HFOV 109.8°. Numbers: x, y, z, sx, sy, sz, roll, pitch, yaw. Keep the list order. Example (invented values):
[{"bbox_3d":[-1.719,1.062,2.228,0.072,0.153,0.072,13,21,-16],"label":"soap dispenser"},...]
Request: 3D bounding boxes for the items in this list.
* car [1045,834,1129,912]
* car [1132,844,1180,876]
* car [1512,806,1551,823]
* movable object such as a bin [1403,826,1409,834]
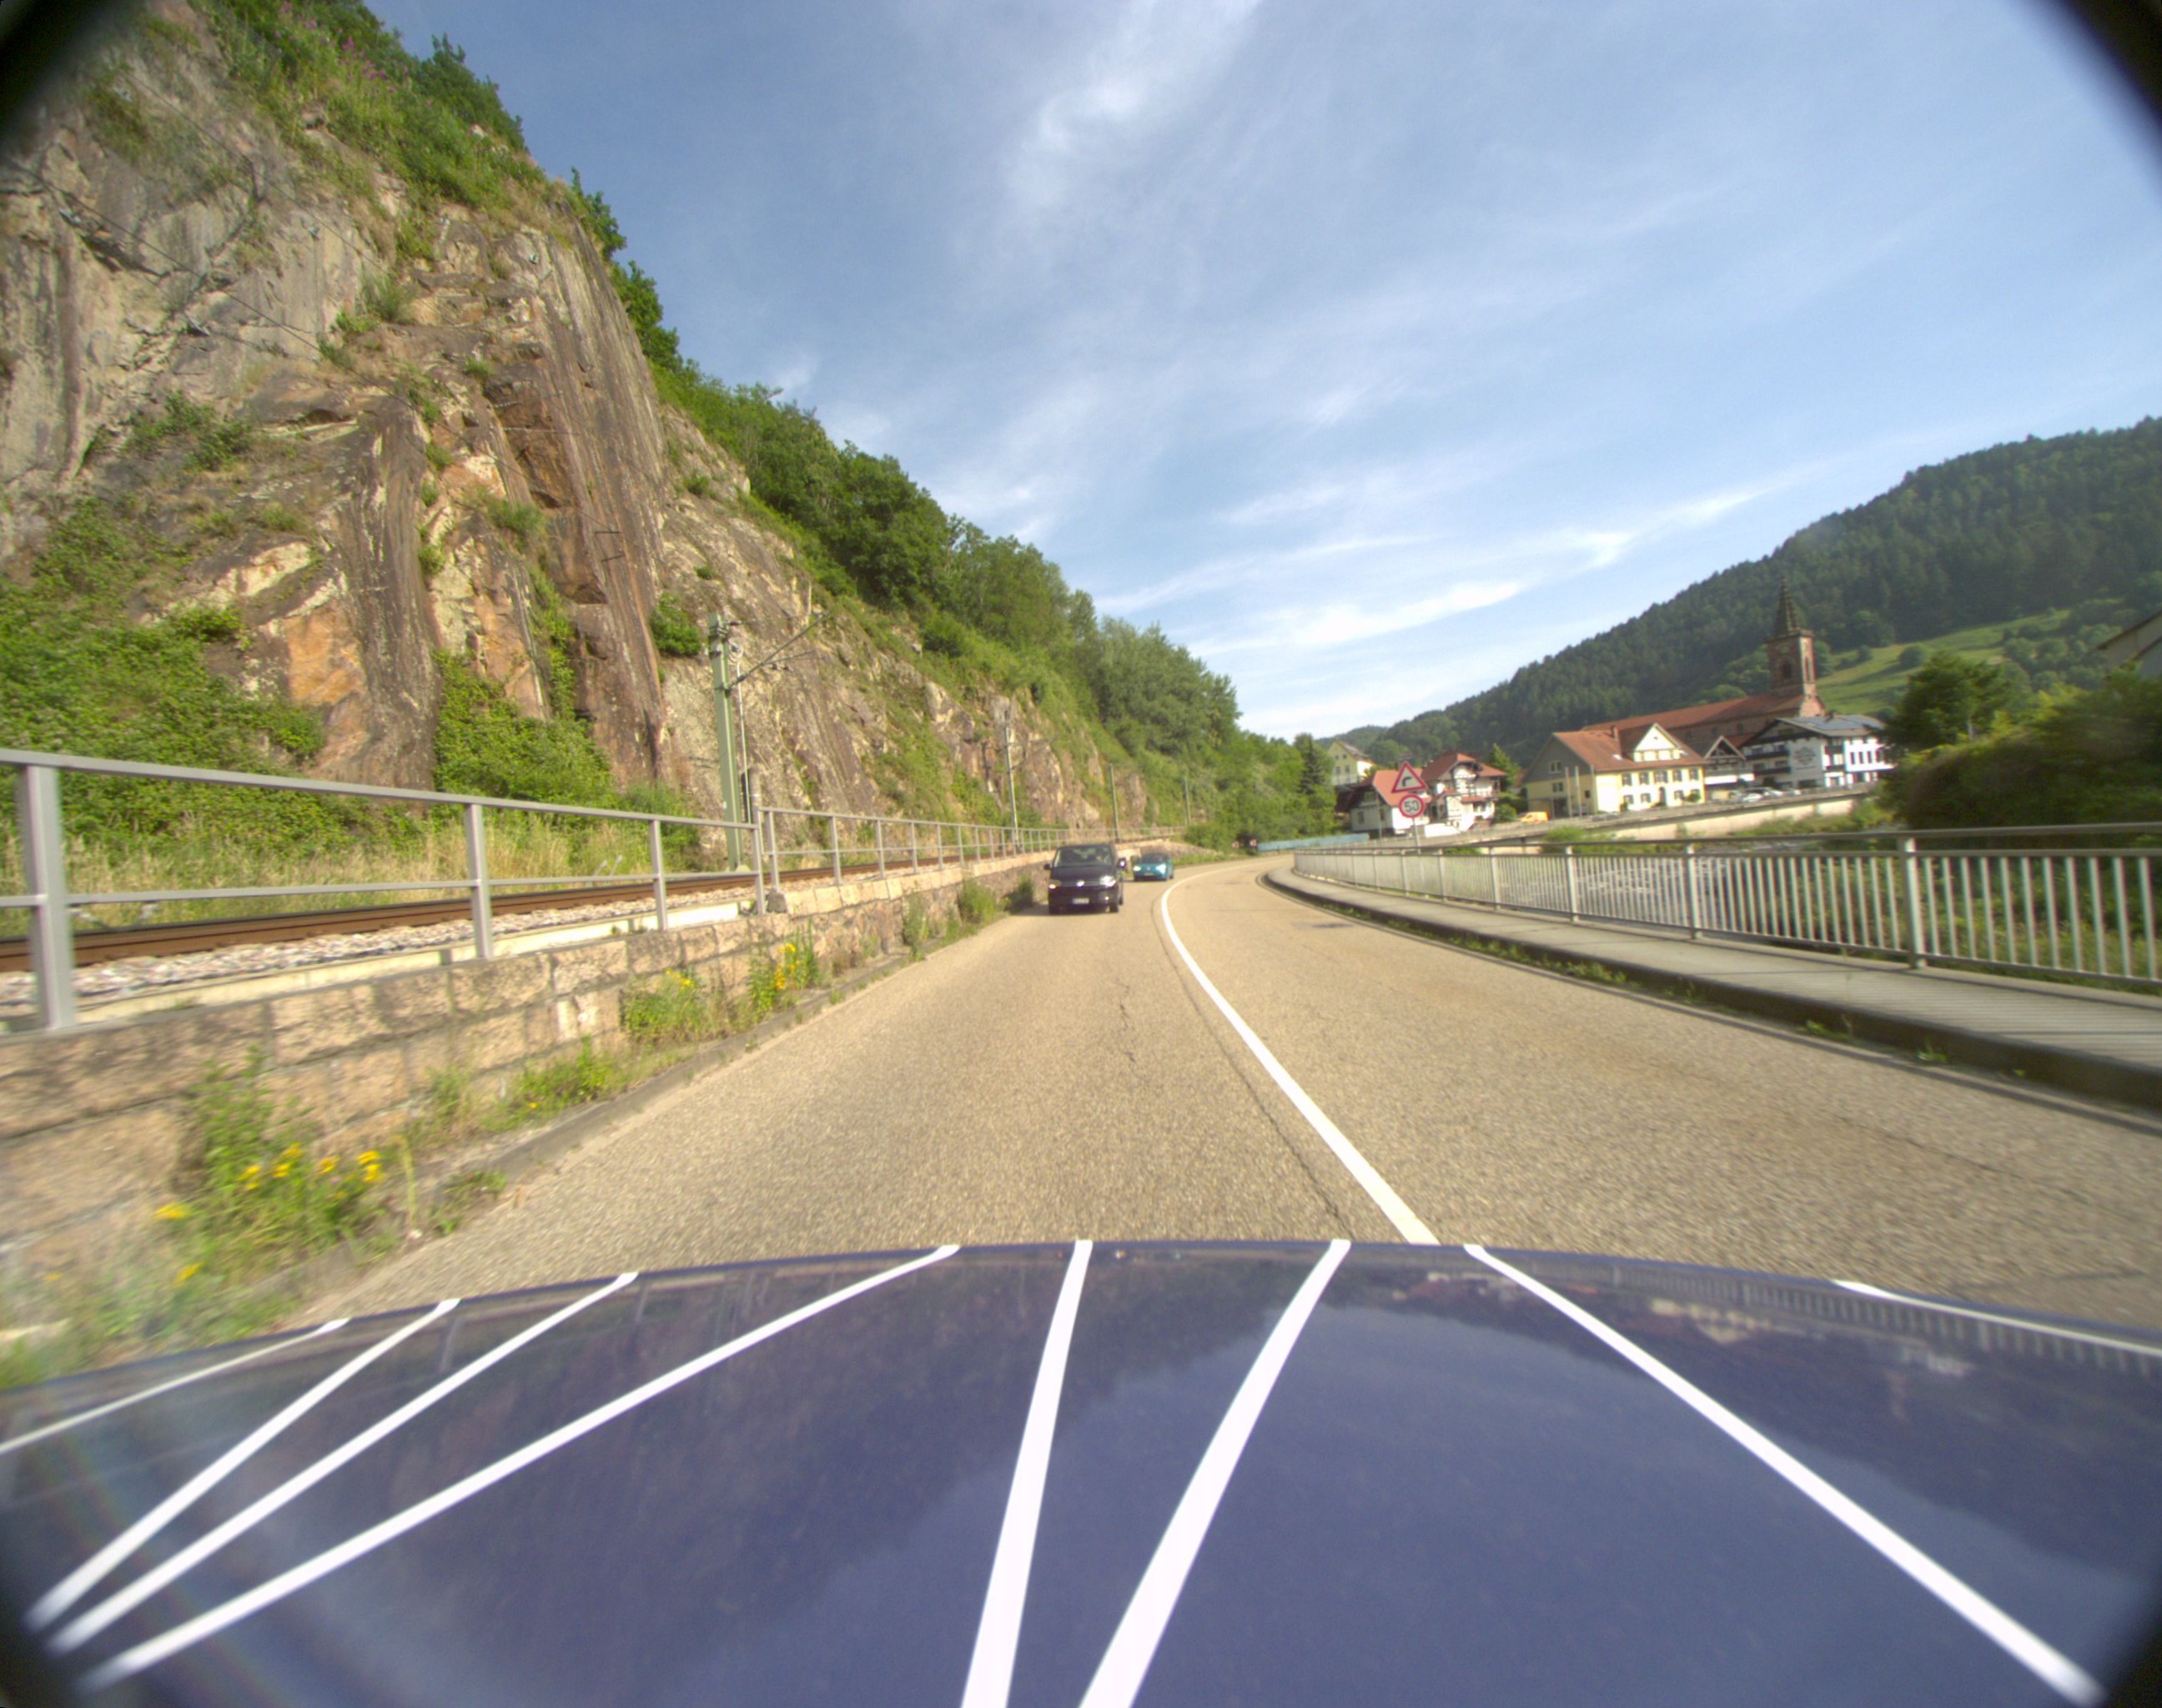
[{"bbox_3d":[0.298,0.488,22.376,1.887,1.952,4.867,-4,0,6],"label":"car"},{"bbox_3d":[4.206,0.306,42.063,1.680,1.513,3.870,-4,0,20],"label":"car"},{"bbox_3d":[63.782,-5.601,107.632,4.837,1.986,1.912,-4,1,-18],"label":"car"},{"bbox_3d":[42.432,-3.153,99.222,0.548,0.895,0.368,-6,1,-28],"label":"movable object such as a bin"}]
